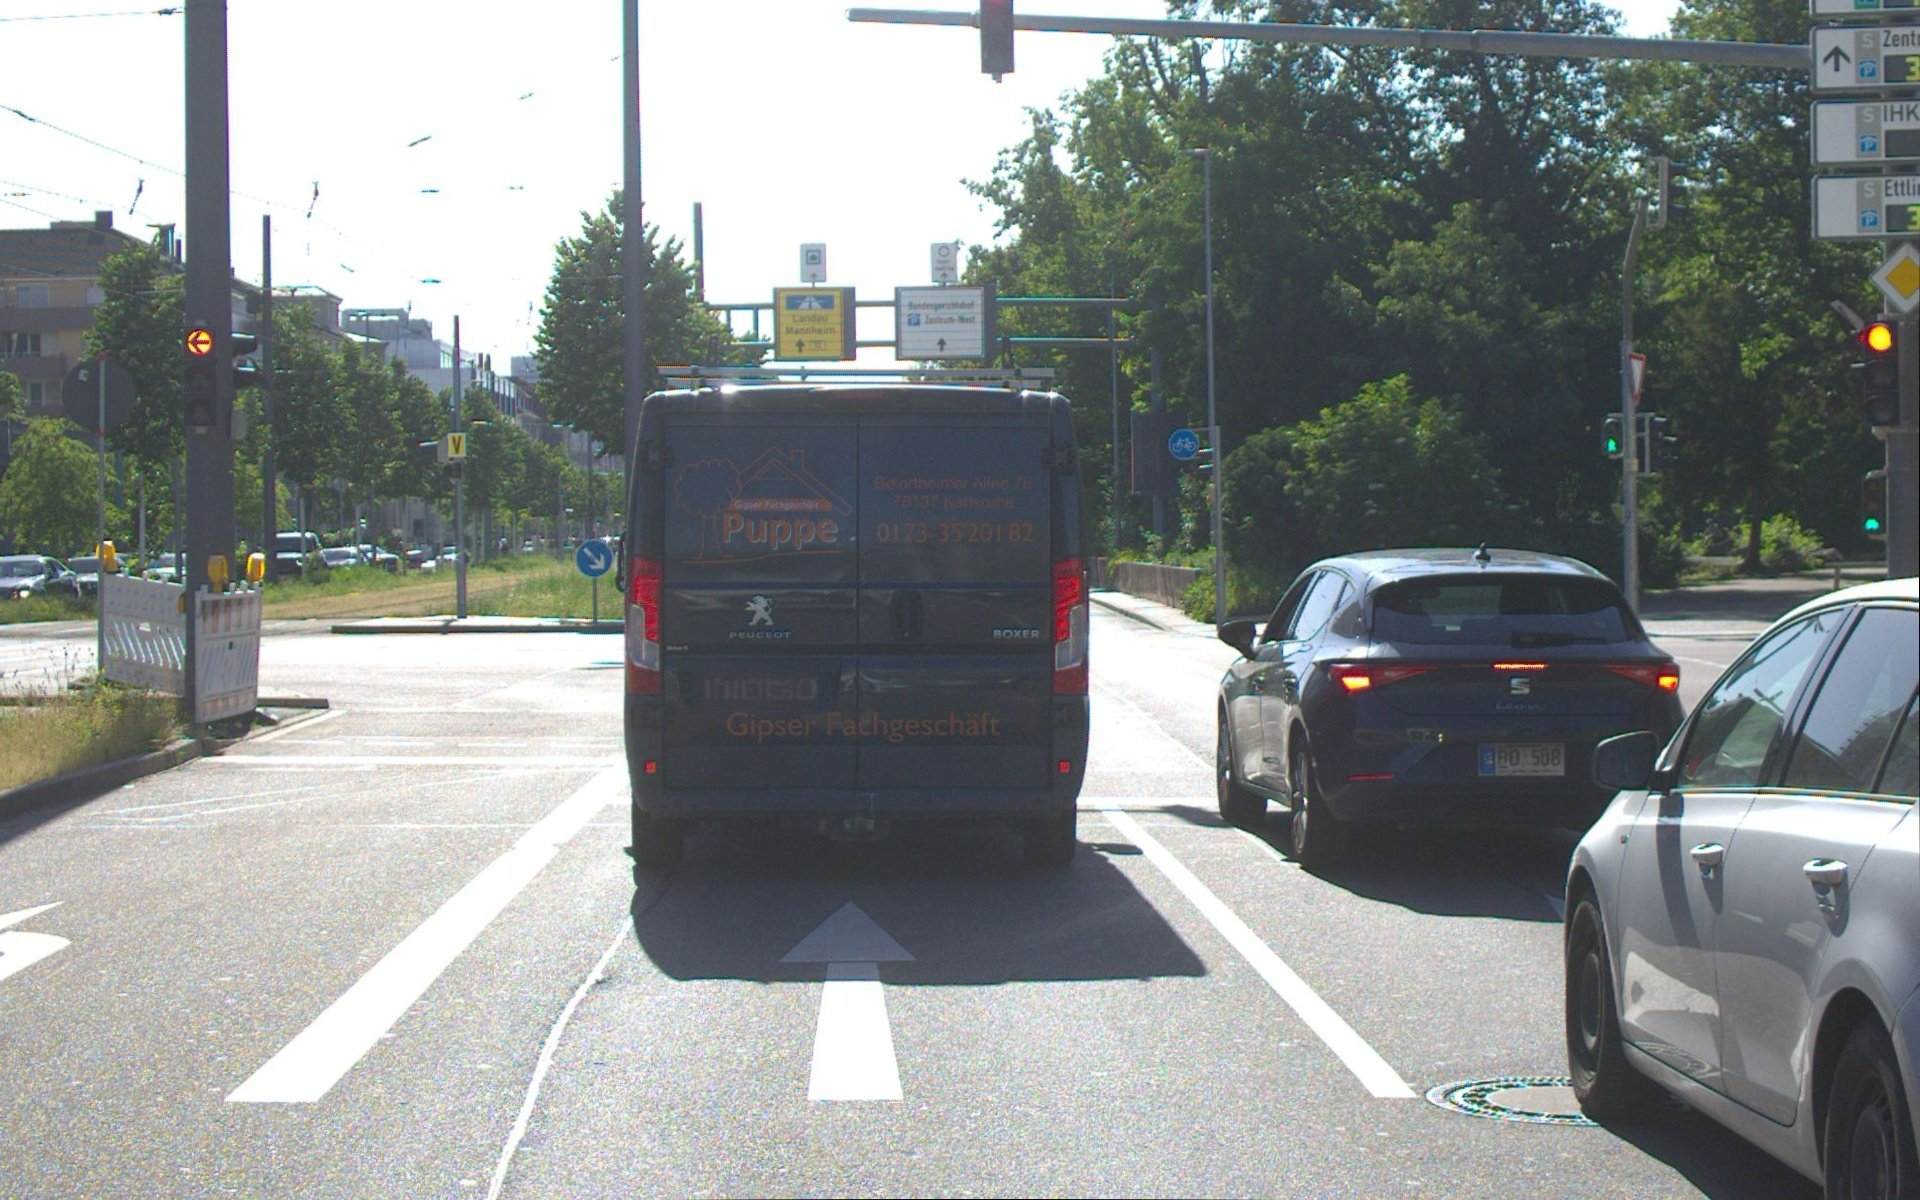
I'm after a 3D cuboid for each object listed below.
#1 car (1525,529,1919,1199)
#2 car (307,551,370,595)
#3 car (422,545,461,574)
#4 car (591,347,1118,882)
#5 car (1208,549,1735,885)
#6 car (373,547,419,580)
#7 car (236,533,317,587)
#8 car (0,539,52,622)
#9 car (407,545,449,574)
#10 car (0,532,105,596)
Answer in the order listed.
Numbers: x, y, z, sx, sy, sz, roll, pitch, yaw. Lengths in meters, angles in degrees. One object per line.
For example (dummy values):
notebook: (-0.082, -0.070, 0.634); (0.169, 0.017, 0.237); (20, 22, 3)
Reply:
car: (2.487, 0.615, 7.628); (1.749, 1.522, 4.005); (0, 1, -1)
car: (-24.450, -1.087, 135.376); (1.790, 1.645, 4.000); (-1, 1, -1)
car: (-31.490, -2.466, 208.886); (1.790, 1.645, 4.000); (-1, 1, -1)
car: (-0.542, 0.002, 16.881); (2.218, 2.259, 4.485); (1, 2, -2)
car: (2.331, 0.474, 16.651); (1.791, 1.423, 3.850); (1, 1, -3)
car: (-29.833, -1.930, 181.955); (1.790, 1.645, 4.000); (-1, 1, -1)
car: (-21.685, -1.292, 109.142); (1.790, 1.645, 4.000); (-1, 1, -1)
car: (-20.092, -0.405, 70.573); (1.790, 1.645, 4.335); (-1, 1, -1)
car: (-30.786, -2.350, 199.027); (1.790, 1.645, 4.000); (-1, 1, -1)
car: (-24.023, -0.972, 91.065); (1.790, 1.645, 4.000); (-1, 1, -1)
